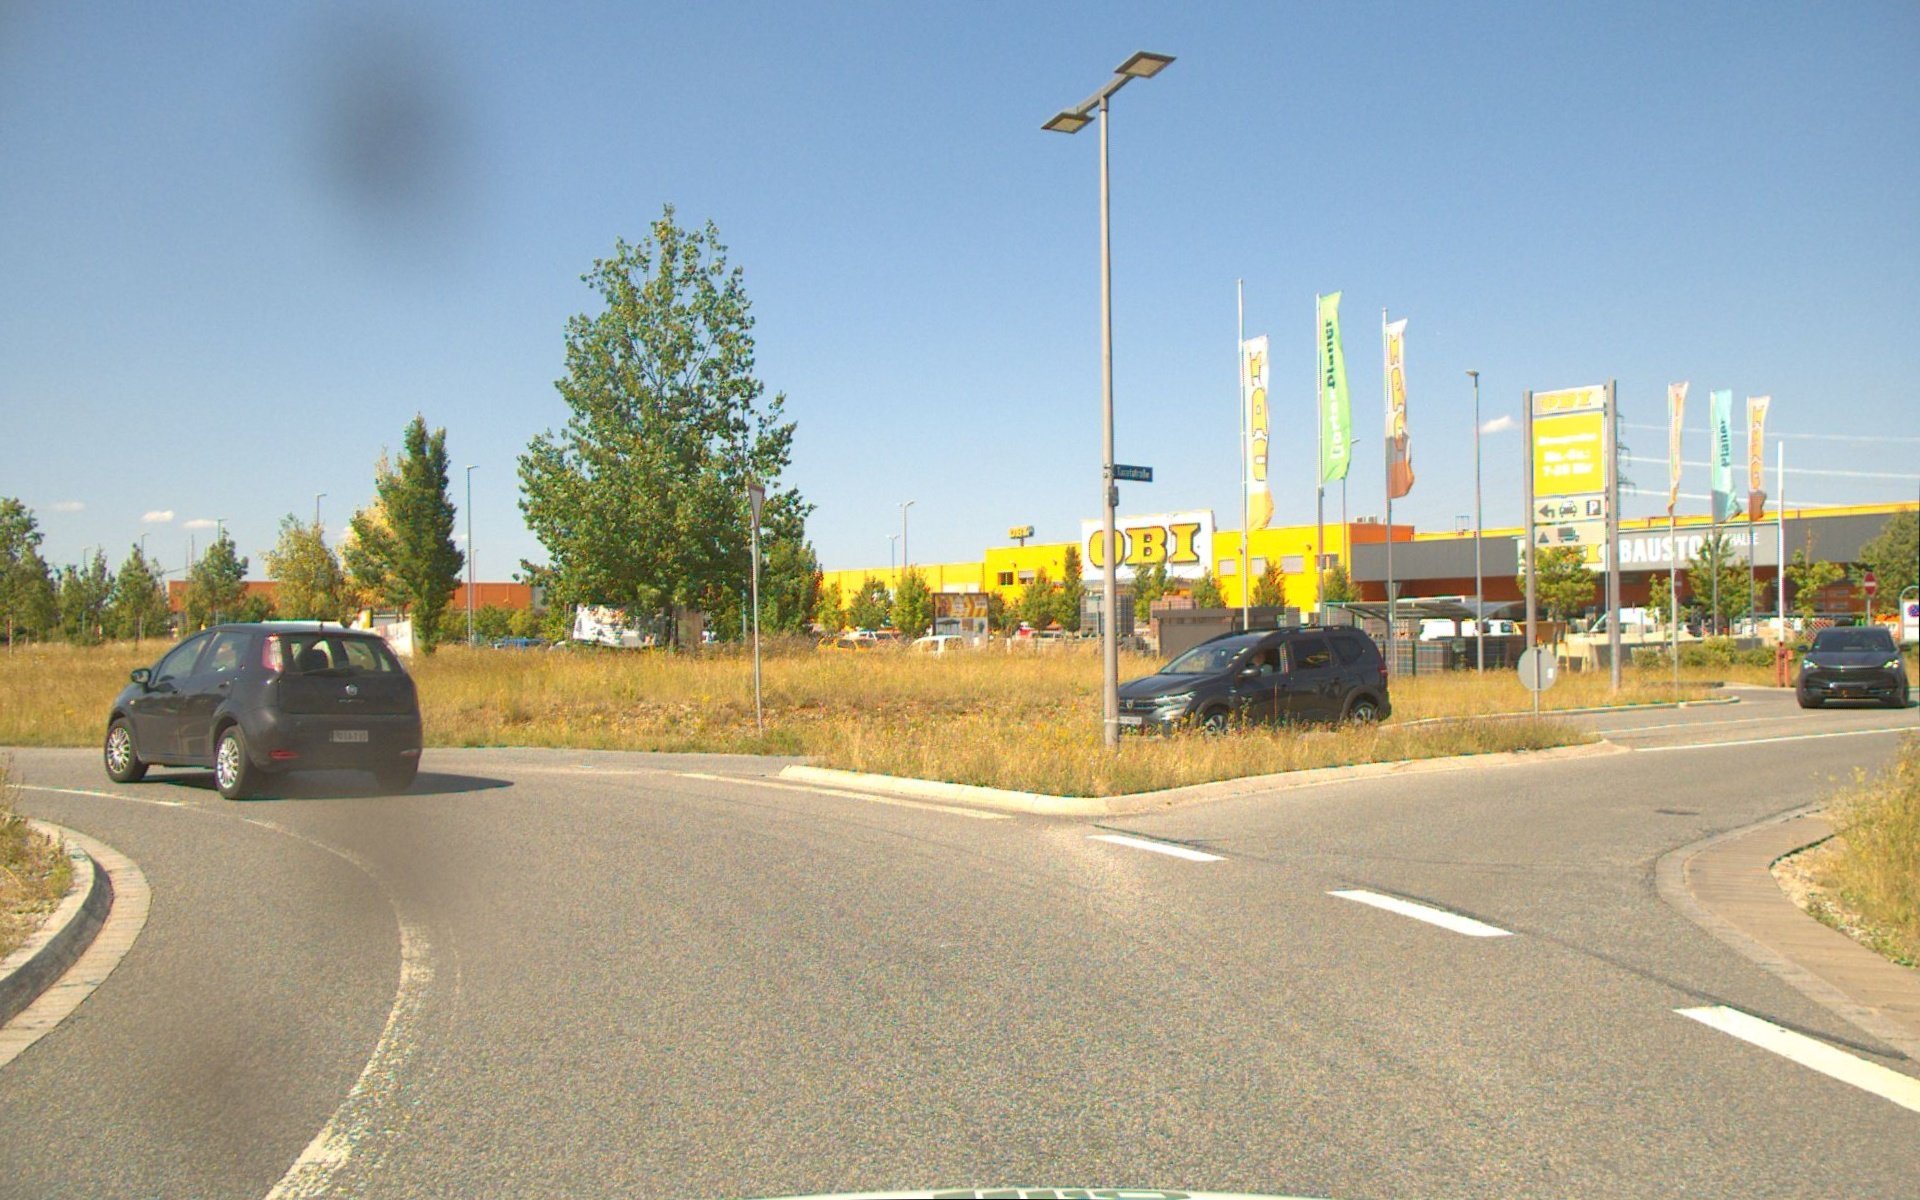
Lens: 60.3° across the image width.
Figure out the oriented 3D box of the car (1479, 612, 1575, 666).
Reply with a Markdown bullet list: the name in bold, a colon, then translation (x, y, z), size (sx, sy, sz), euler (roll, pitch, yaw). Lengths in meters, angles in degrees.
- **car**: translation (20.553, 1.440, 59.887), size (3.740, 1.873, 1.675), euler (2, -3, -41)

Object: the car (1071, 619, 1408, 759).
- **car**: translation (3.951, 1.194, 23.110), size (4.572, 1.736, 1.934), euler (0, -3, -34)

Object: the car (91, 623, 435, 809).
- **car**: translation (-6.582, 0.982, 15.425), size (3.839, 1.514, 1.633), euler (-1, -2, 45)

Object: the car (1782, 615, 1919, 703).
- **car**: translation (18.401, 1.189, 33.958), size (2.036, 1.655, 4.680), euler (-3, -3, 35)

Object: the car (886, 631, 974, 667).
- **car**: translation (-1.475, 2.387, 80.337), size (3.924, 1.646, 1.990), euler (-2, -2, 39)
